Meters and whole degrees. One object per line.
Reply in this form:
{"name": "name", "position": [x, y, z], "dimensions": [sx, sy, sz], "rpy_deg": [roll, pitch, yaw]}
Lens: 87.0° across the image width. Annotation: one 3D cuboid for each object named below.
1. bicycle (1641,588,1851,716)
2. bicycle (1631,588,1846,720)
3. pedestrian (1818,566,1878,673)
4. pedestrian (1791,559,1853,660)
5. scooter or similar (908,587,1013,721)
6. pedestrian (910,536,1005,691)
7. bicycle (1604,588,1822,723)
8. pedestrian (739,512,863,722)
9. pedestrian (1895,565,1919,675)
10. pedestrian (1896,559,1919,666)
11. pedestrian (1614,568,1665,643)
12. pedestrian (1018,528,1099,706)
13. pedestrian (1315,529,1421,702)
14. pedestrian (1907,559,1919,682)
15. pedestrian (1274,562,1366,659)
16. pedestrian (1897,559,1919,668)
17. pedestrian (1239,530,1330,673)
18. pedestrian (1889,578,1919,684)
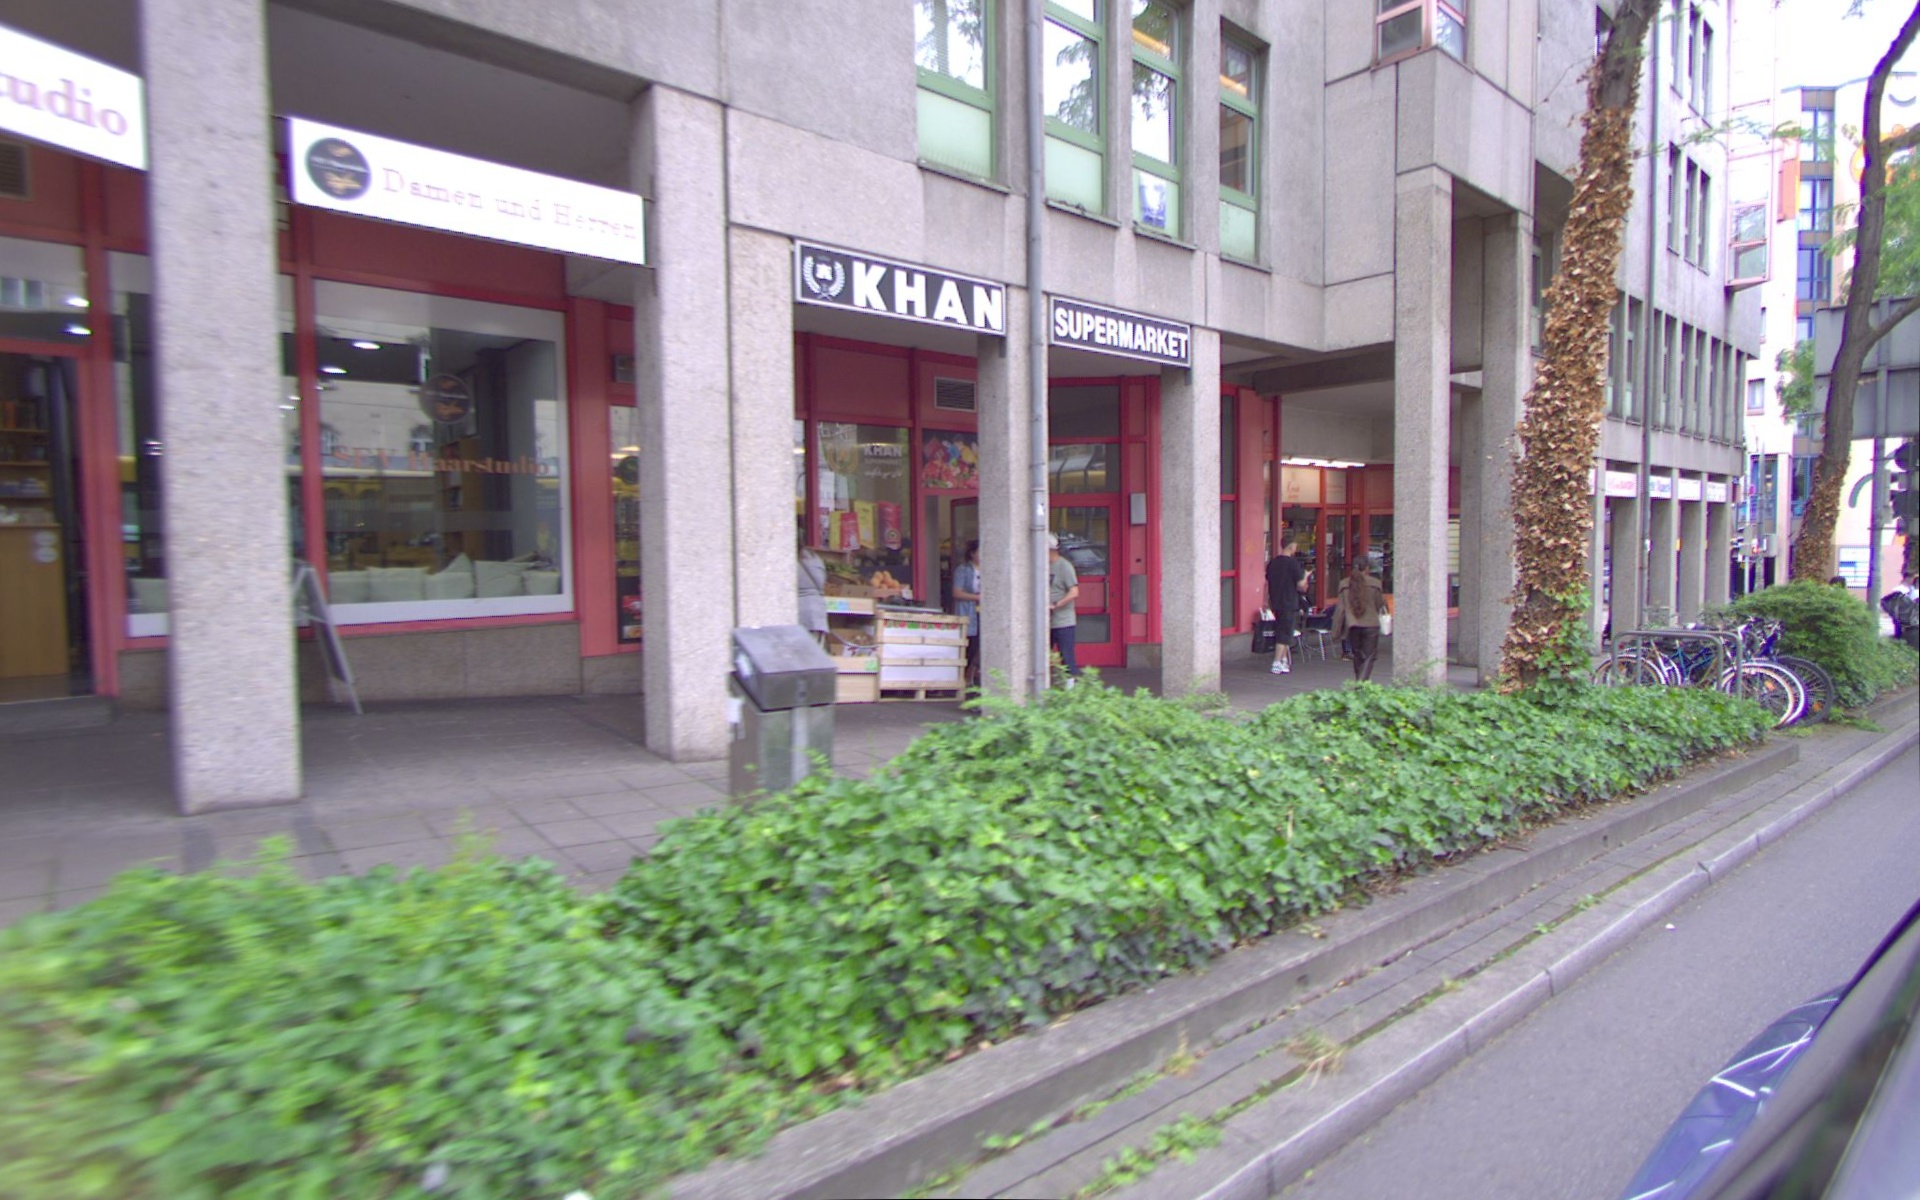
{"name": "bicycle", "position": [8.430, 0.513, 10.909], "dimensions": [1.708, 1.198, 0.442], "rpy_deg": [4, 4, 43]}
{"name": "bicycle", "position": [8.107, 0.520, 10.600], "dimensions": [1.708, 1.198, 0.442], "rpy_deg": [4, 4, 43]}
{"name": "pedestrian", "position": [14.153, 0.306, 16.144], "dimensions": [0.615, 1.632, 0.753], "rpy_deg": [4, 1, 39]}
{"name": "pedestrian", "position": [16.203, 0.168, 19.017], "dimensions": [0.821, 1.825, 0.722], "rpy_deg": [2, 2, -44]}
{"name": "scooter or similar", "position": [0.016, 0.469, 9.376], "dimensions": [0.754, 1.123, 0.854], "rpy_deg": [1, 3, 17]}
{"name": "pedestrian", "position": [-0.029, 0.138, 11.101], "dimensions": [0.750, 1.632, 0.618], "rpy_deg": [2, 1, -36]}
{"name": "bicycle", "position": [7.672, 0.521, 10.372], "dimensions": [1.708, 1.198, 0.442], "rpy_deg": [4, 4, 43]}
{"name": "pedestrian", "position": [-1.307, 0.128, 8.310], "dimensions": [0.764, 1.632, 0.619], "rpy_deg": [2, 1, -31]}
{"name": "pedestrian", "position": [15.487, 0.323, 16.071], "dimensions": [0.752, 1.724, 0.836], "rpy_deg": [-1, 4, -44]}
{"name": "pedestrian", "position": [17.330, 0.210, 18.163], "dimensions": [0.721, 1.897, 0.734], "rpy_deg": [-2, 2, -44]}
{"name": "pedestrian", "position": [16.226, 0.126, 24.187], "dimensions": [0.848, 1.735, 1.115], "rpy_deg": [-1, -1, 28]}
{"name": "pedestrian", "position": [0.992, 0.156, 10.330], "dimensions": [0.750, 1.744, 0.677], "rpy_deg": [0, 2, 1]}
{"name": "pedestrian", "position": [4.495, 0.138, 11.139], "dimensions": [0.762, 1.804, 0.834], "rpy_deg": [4, 4, 45]}
{"name": "pedestrian", "position": [14.441, 0.292, 15.035], "dimensions": [0.752, 1.811, 0.519], "rpy_deg": [-2, 1, -44]}
{"name": "pedestrian", "position": [5.441, 0.131, 15.326], "dimensions": [1.056, 1.380, 0.745], "rpy_deg": [4, 3, 43]}
{"name": "pedestrian", "position": [16.258, 0.238, 16.918], "dimensions": [0.678, 1.798, 0.694], "rpy_deg": [-2, 6, -44]}
{"name": "pedestrian", "position": [4.304, -0.004, 13.451], "dimensions": [0.710, 1.825, 0.834], "rpy_deg": [0, 3, -40]}
{"name": "pedestrian", "position": [14.827, 0.463, 15.500], "dimensions": [0.752, 1.582, 0.836], "rpy_deg": [-2, 1, -44]}
